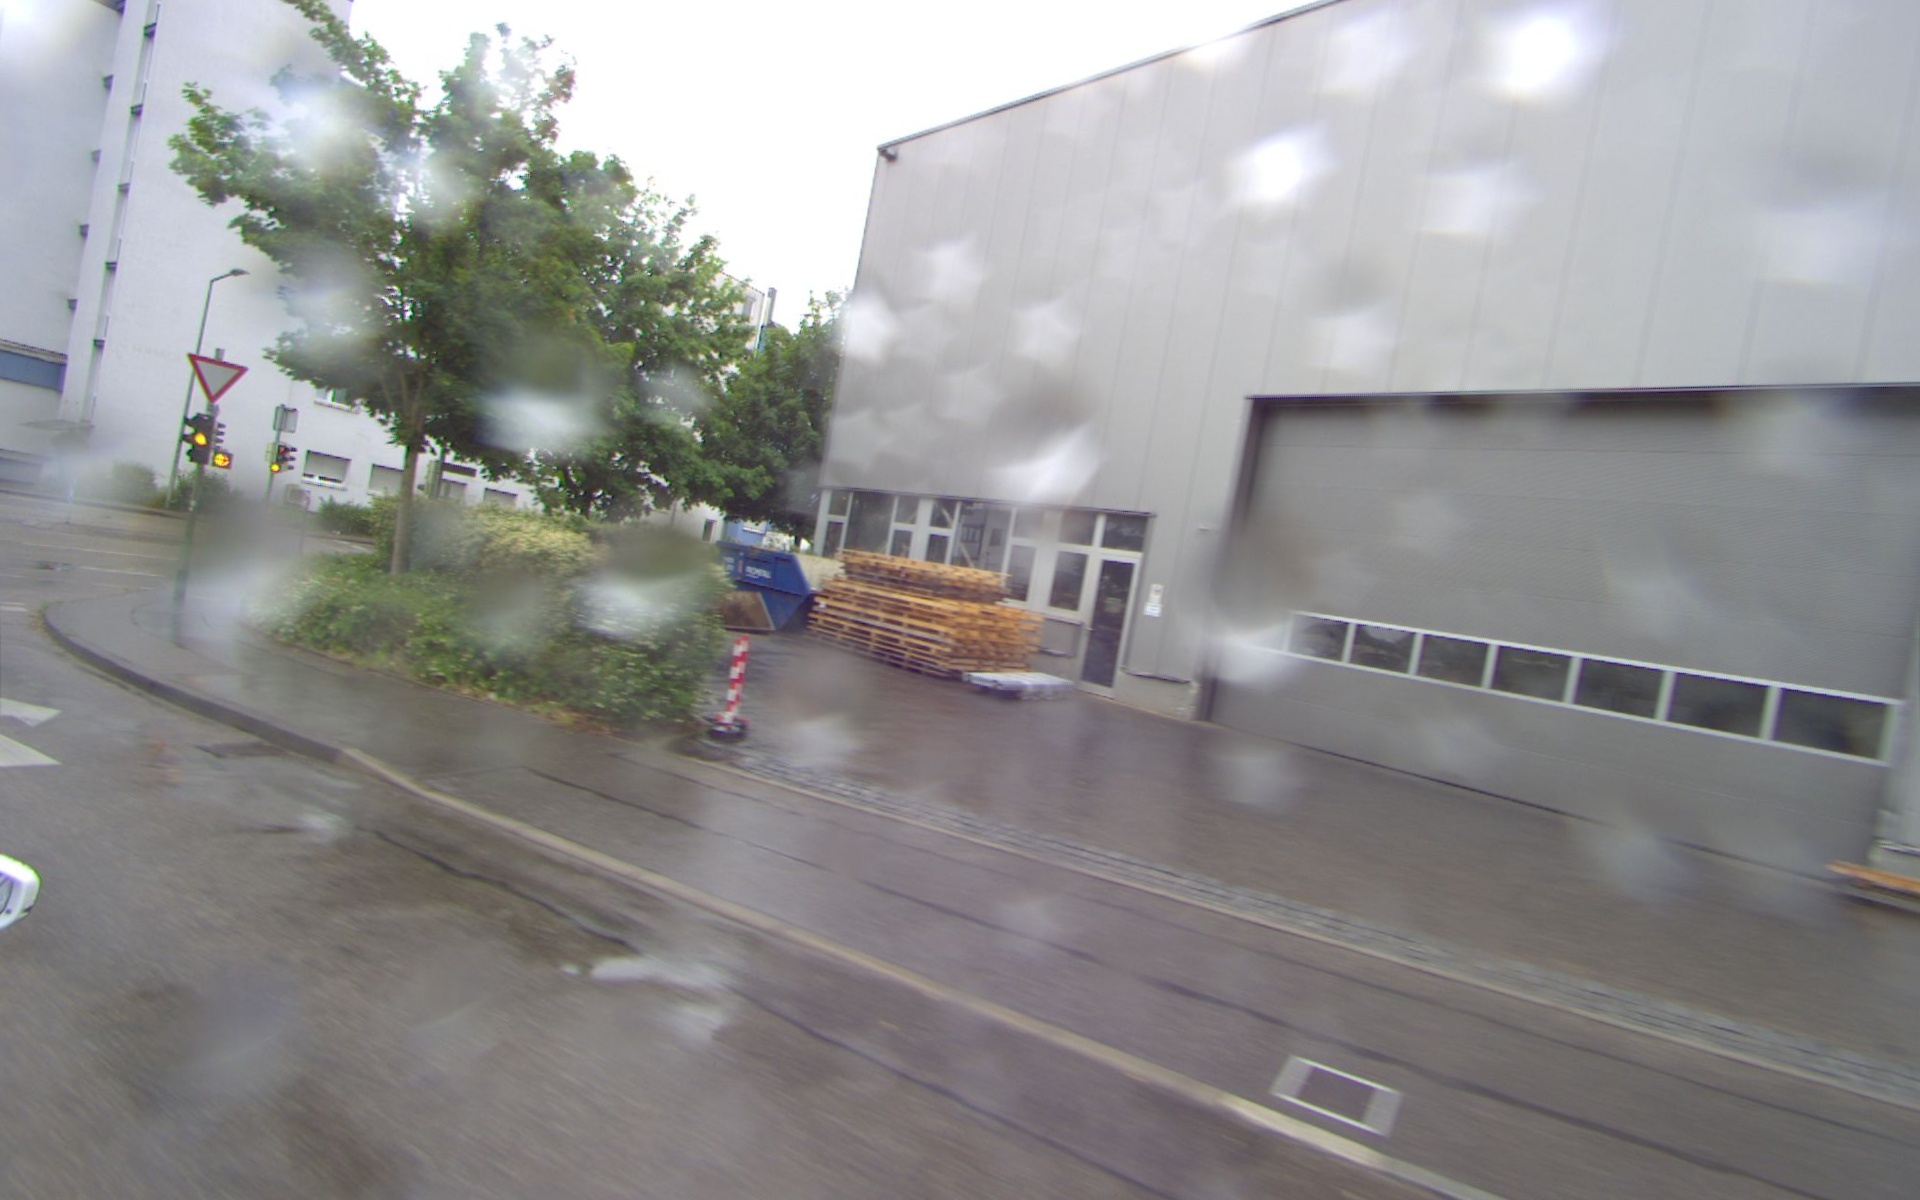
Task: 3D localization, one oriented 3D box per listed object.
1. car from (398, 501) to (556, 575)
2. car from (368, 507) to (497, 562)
[{"bbox_3d":[-17.820,-2.242,37.325,1.800,1.939,4.814,8,-1,39],"label":"car"},{"bbox_3d":[-20.652,-2.555,39.484,1.803,1.485,3.987,9,1,36],"label":"car"}]
